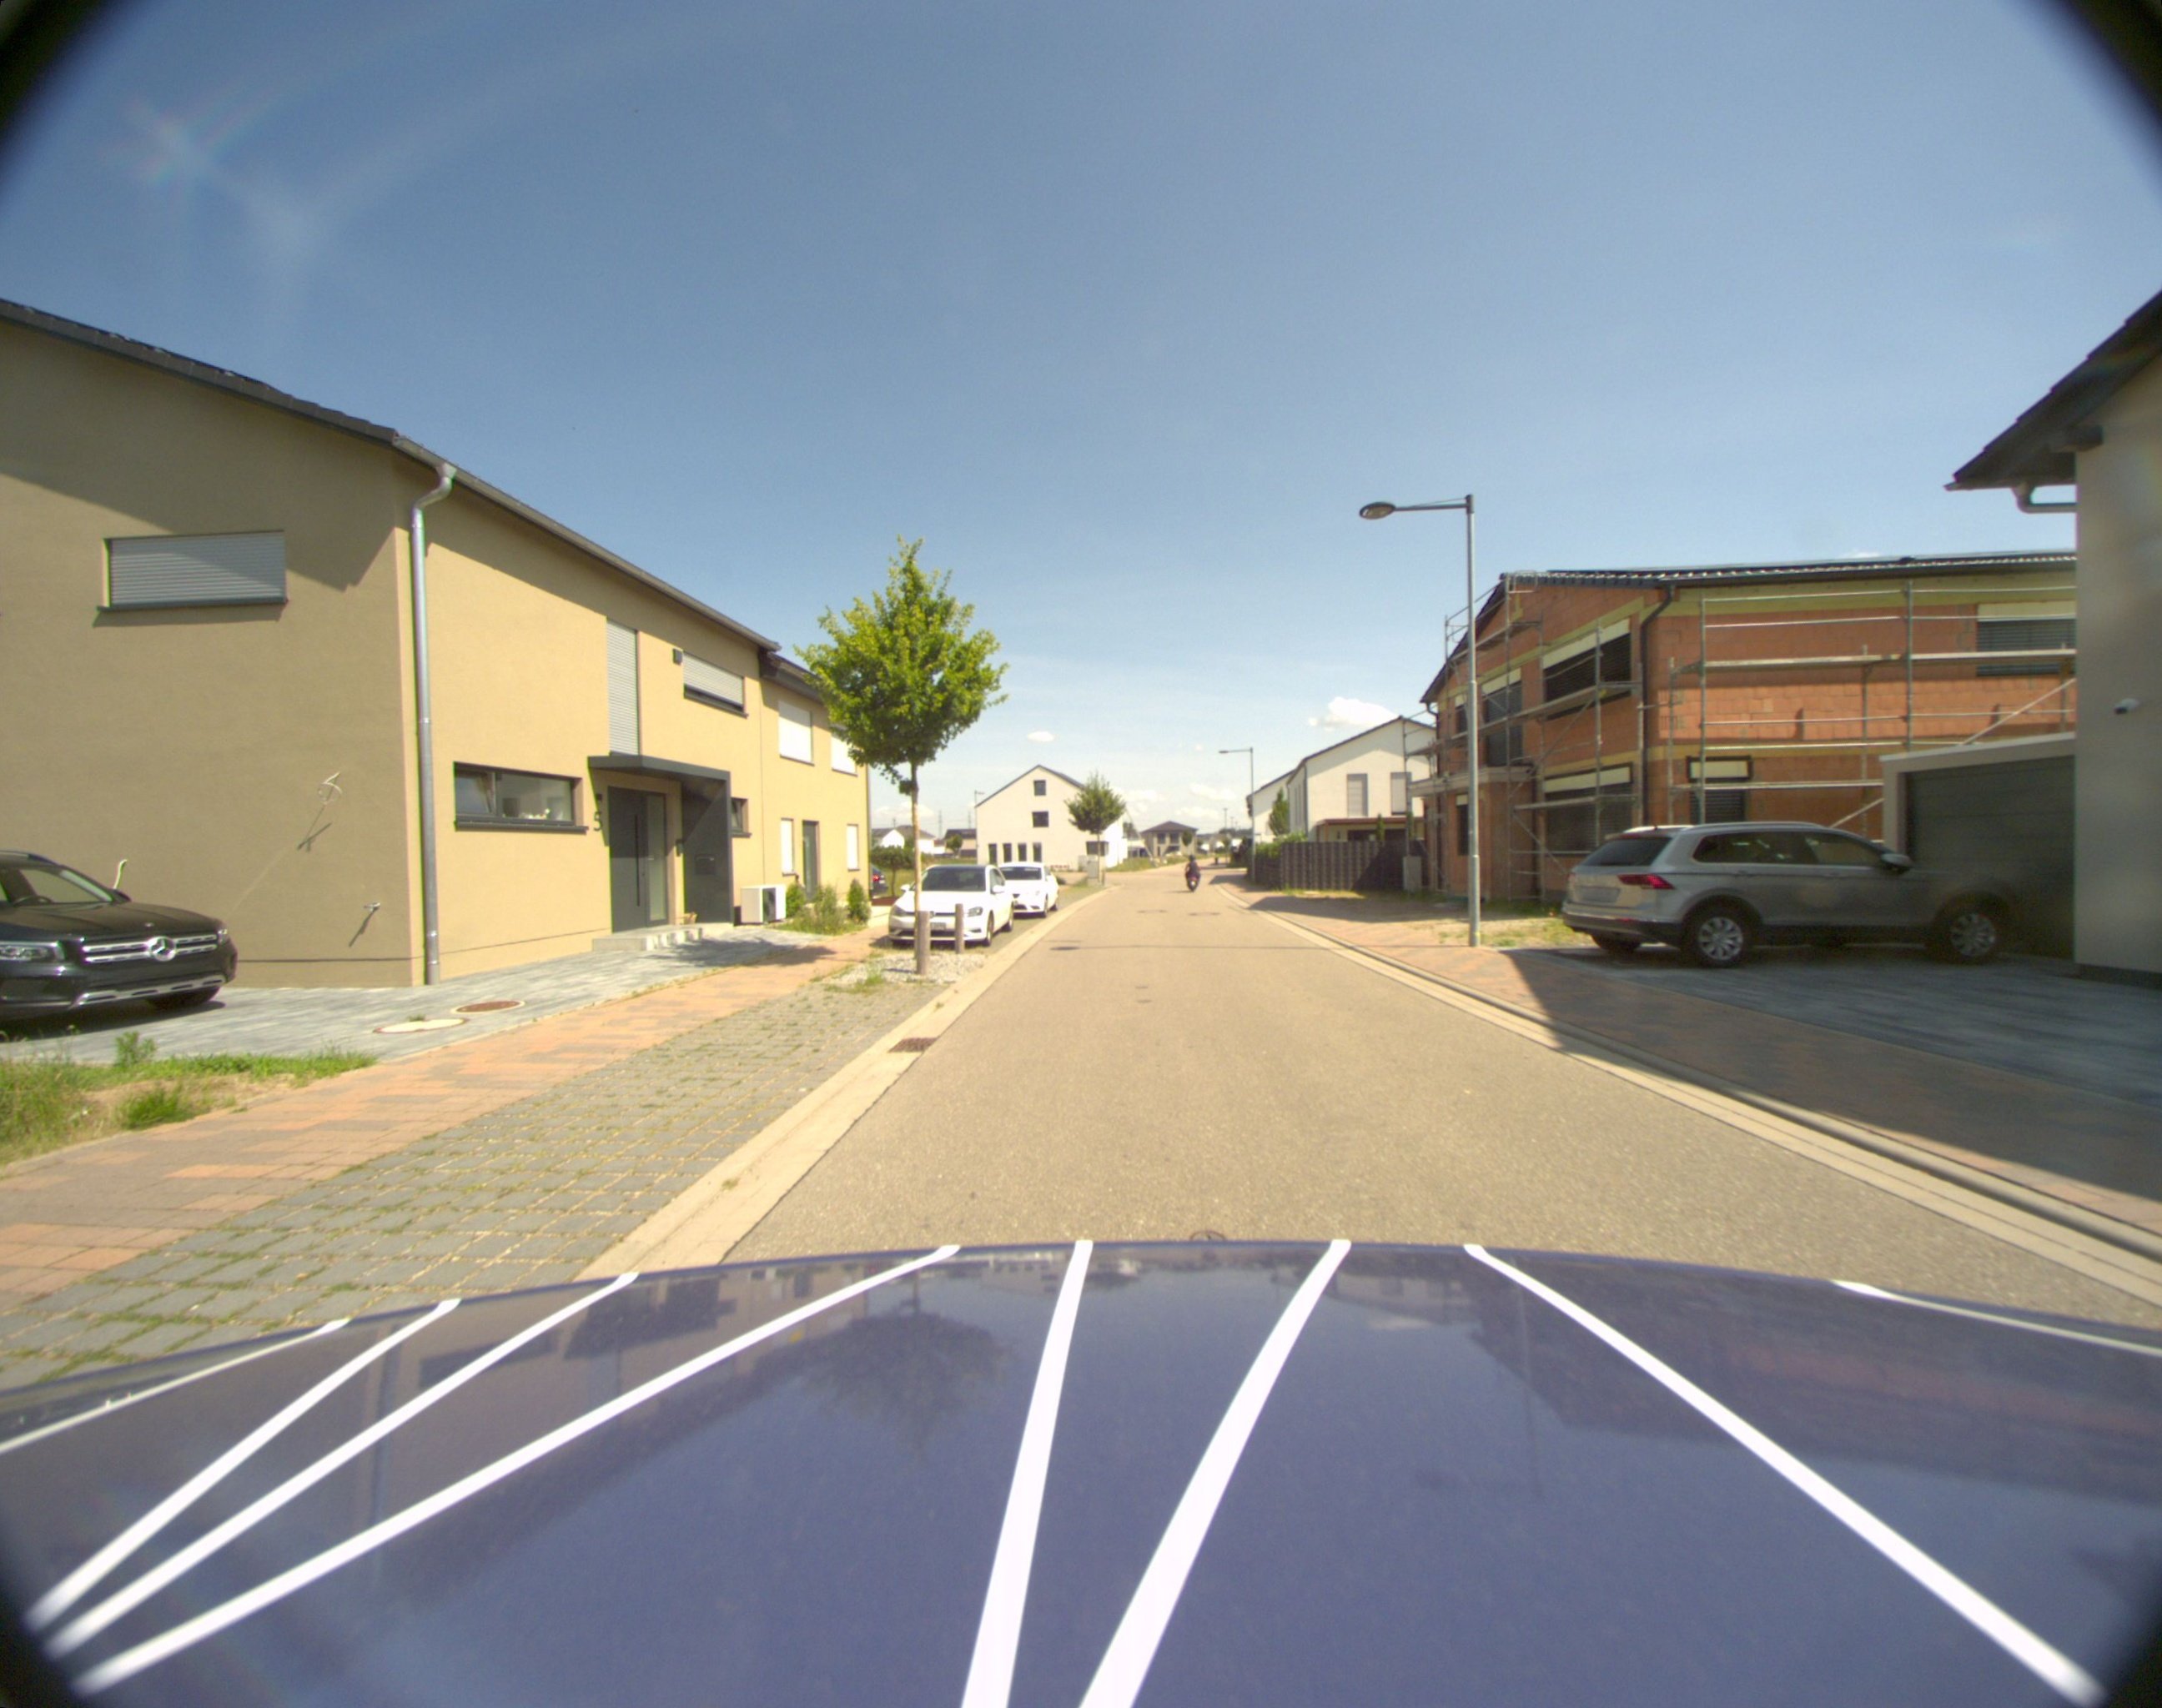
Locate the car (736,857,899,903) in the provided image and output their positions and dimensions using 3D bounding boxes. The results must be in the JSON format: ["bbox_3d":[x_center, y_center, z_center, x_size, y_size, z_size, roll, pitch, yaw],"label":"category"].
[{"bbox_3d":[-9.023,0.868,26.226,4.897,1.417,2.001,1,0,7],"label":"car"}]

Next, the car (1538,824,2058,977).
[{"bbox_3d":[8.382,0.506,9.251,4.435,1.602,2.000,-1,0,1],"label":"car"}]

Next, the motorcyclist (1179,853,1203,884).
[{"bbox_3d":[4.634,0.602,31.969,0.926,1.215,0.804,-4,0,8],"label":"motorcyclist"}]

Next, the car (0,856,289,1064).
[{"bbox_3d":[-10.910,0.877,7.195,4.757,1.635,2.000,0,2,2],"label":"car"}]

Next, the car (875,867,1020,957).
[{"bbox_3d":[-2.393,0.993,14.817,1.783,1.417,4.515,0,0,3],"label":"car"}]

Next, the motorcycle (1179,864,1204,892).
[{"bbox_3d":[4.670,0.979,31.979,0.957,1.029,2.438,-3,0,9],"label":"motorcycle"}]

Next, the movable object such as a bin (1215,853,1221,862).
[{"bbox_3d":[15.447,0.383,85.492,0.597,0.916,0.462,-1,1,14],"label":"movable object such as a bin"}]

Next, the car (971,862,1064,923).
[{"bbox_3d":[-1.625,0.976,21.107,1.818,1.447,4.566,0,0,5],"label":"car"}]
